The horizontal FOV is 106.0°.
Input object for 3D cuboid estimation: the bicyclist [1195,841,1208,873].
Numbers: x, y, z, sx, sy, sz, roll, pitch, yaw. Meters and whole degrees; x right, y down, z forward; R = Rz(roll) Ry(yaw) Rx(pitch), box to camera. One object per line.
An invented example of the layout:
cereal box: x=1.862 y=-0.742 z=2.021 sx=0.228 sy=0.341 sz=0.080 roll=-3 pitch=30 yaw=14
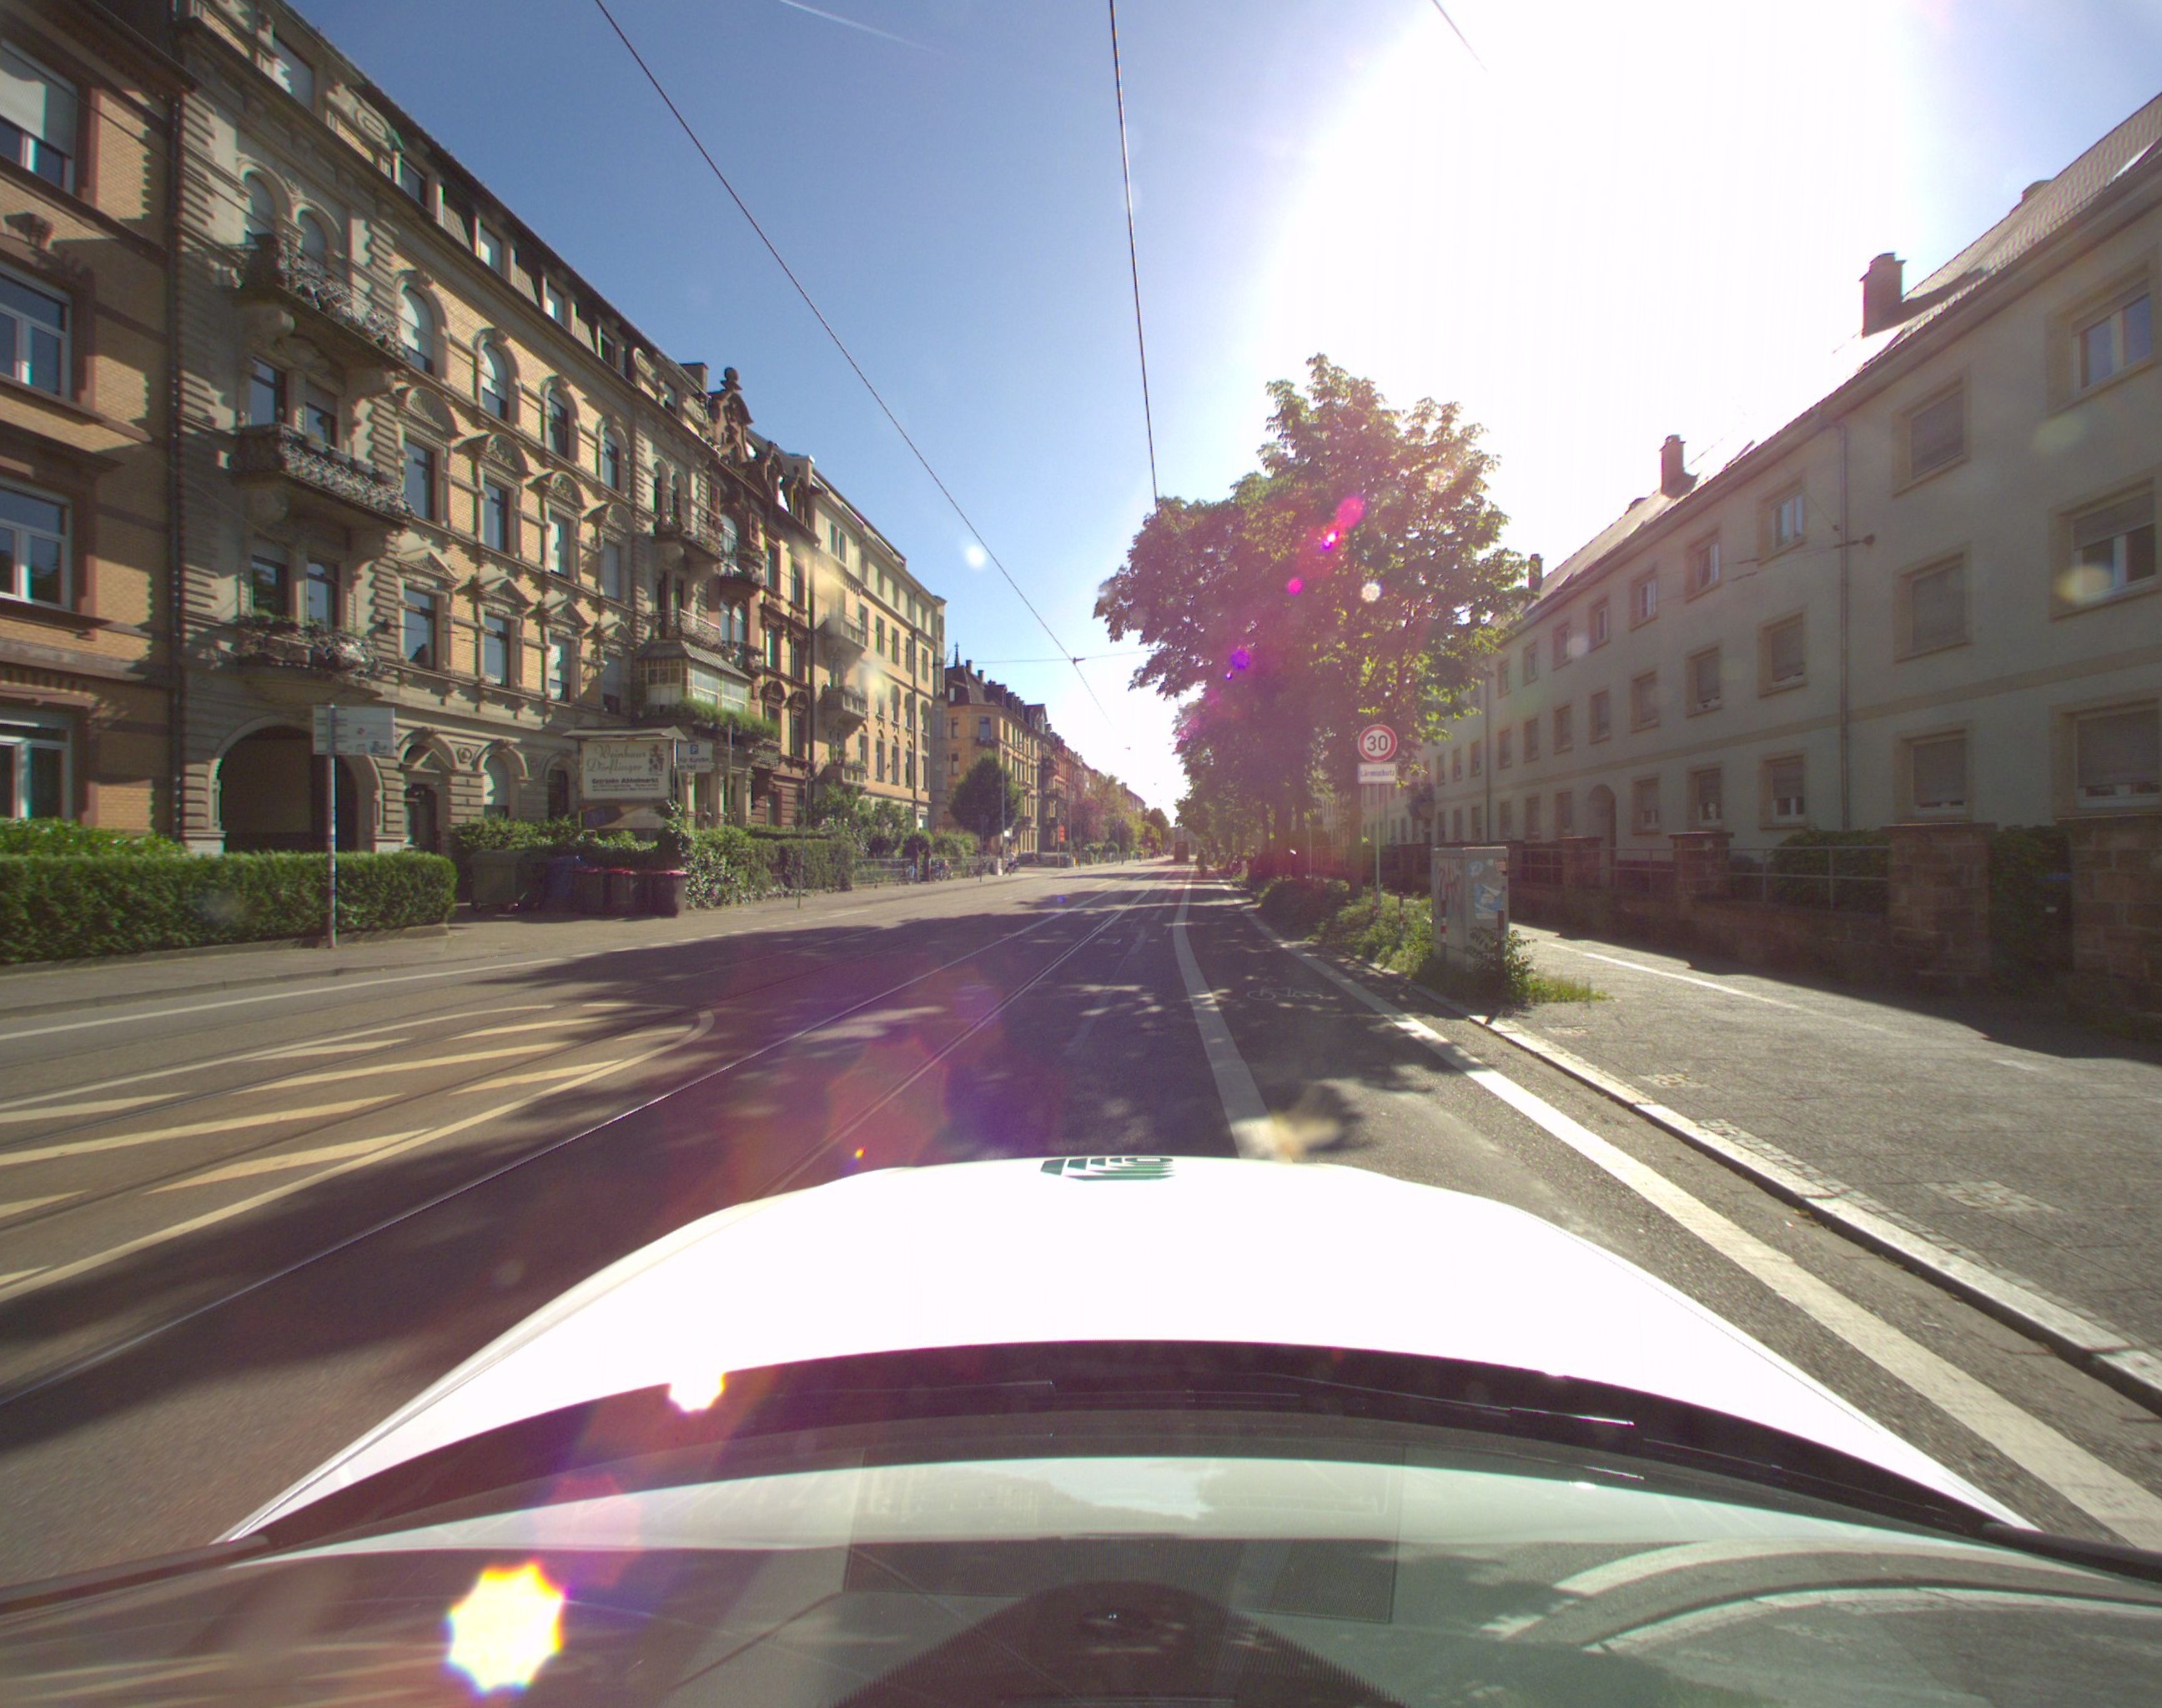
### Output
bicyclist: x=6.966 y=0.169 z=47.128 sx=0.723 sy=1.848 sz=0.838 roll=2 pitch=0 yaw=7

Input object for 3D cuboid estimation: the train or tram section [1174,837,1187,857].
train or tram section: x=17.905 y=-1.249 z=146.512 sx=2.141 sy=3.431 sz=6.626 roll=2 pitch=0 yaw=8

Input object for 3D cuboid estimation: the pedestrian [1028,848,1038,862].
pedestrian: x=-4.897 y=0.096 z=82.870 sx=0.895 sy=1.352 sz=0.579 roll=-2 pitch=0 yaw=9

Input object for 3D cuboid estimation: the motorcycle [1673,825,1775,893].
motorcycle: x=15.098 y=0.111 z=19.216 sx=0.802 sy=1.487 sz=2.263 roll=2 pitch=0 yaw=7

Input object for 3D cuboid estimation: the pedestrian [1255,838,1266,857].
pedestrian: x=16.762 y=-0.609 z=76.152 sx=0.755 sy=1.724 sz=0.583 roll=2 pitch=0 yaw=37

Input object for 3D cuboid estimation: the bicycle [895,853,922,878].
bicycle: x=-7.786 y=0.524 z=36.869 sx=0.560 sy=1.033 sz=1.772 roll=2 pitch=2 yaw=9

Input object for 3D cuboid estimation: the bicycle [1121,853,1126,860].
bicycle: x=5.506 y=0.349 z=106.317 sx=0.457 sy=0.926 sz=2.208 roll=-1 pitch=0 yaw=8

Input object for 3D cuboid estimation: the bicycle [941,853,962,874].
bicycle: x=-6.787 y=0.485 z=42.631 sx=0.560 sy=1.033 sz=1.771 roll=2 pitch=1 yaw=7

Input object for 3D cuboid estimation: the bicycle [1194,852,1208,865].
bicycle: x=10.373 y=0.383 z=70.380 sx=0.685 sy=1.112 sz=1.928 roll=2 pitch=0 yaw=23

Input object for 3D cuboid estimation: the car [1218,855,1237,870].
car: x=14.885 y=0.809 z=82.799 sx=1.777 sy=1.464 sz=4.053 roll=0 pitch=0 yaw=8

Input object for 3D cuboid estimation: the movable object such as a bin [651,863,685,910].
movable object such as a bin: x=-9.969 y=0.783 z=19.649 sx=0.476 sy=1.086 sz=0.542 roll=2 pitch=0 yaw=9

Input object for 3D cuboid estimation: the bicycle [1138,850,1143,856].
bicycle: x=10.068 y=-0.152 z=137.870 sx=0.688 sy=1.112 sz=1.722 roll=-1 pitch=0 yaw=8

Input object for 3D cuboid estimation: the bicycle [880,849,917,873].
bicycle: x=-8.529 y=0.332 z=38.133 sx=1.566 sy=1.033 sz=0.480 roll=4 pitch=1 yaw=7

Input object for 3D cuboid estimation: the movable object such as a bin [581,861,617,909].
movable object such as a bin: x=-11.337 y=0.714 z=19.162 sx=0.476 sy=1.086 sz=0.542 roll=2 pitch=0 yaw=9

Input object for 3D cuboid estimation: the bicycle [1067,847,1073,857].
bicycle: x=-1.125 y=-0.177 z=82.811 sx=0.333 sy=1.001 sz=1.874 roll=2 pitch=0 yaw=8

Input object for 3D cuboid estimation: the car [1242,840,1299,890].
car: x=7.443 y=0.389 z=32.353 sx=1.734 sy=1.766 sz=4.487 roll=2 pitch=1 yaw=7

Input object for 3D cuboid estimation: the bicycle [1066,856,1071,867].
bicycle: x=-1.290 y=0.739 z=81.875 sx=0.368 sy=1.126 sz=0.810 roll=2 pitch=0 yaw=8

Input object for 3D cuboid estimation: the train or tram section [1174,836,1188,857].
train or tram section: x=17.184 y=-1.224 z=139.918 sx=2.141 sy=3.431 sz=6.626 roll=2 pitch=0 yaw=8

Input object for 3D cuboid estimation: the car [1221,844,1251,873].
car: x=9.930 y=0.261 z=52.445 sx=1.656 sy=1.761 sz=4.240 roll=0 pitch=0 yaw=7

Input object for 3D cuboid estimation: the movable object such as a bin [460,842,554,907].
movable object such as a bin: x=-13.542 y=0.464 z=19.252 sx=1.311 sy=1.447 sz=1.174 roll=2 pitch=0 yaw=9

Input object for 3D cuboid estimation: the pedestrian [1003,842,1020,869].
pedestrian: x=-4.436 y=0.098 z=52.135 sx=0.824 sy=1.723 sz=1.085 roll=2 pitch=-1 yaw=8

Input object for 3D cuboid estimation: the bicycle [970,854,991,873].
bicycle: x=-5.911 y=0.556 z=47.763 sx=0.566 sy=1.033 sz=1.752 roll=1 pitch=2 yaw=-28

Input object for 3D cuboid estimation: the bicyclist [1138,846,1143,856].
bicyclist: x=10.064 y=-0.520 z=137.787 sx=0.656 sy=1.801 sz=0.617 roll=-2 pitch=-1 yaw=8

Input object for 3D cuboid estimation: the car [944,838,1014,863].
car: x=-7.080 y=-0.245 z=56.869 sx=4.418 sy=1.643 sz=1.972 roll=2 pitch=0 yaw=10

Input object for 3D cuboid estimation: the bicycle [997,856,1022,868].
bicycle: x=-5.406 y=0.606 z=61.868 sx=1.793 sy=0.914 sz=0.615 roll=1 pitch=-2 yaw=-28

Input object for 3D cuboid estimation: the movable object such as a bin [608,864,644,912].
movable object such as a bin: x=-10.673 y=0.785 z=19.130 sx=0.476 sy=1.086 sz=0.542 roll=2 pitch=0 yaw=9

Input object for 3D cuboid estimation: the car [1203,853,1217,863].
car: x=18.537 y=0.536 z=117.156 sx=1.620 sy=1.436 sz=4.671 roll=-1 pitch=0 yaw=5

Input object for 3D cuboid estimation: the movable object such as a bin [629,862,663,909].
movable object such as a bin: x=-10.537 y=0.759 z=19.725 sx=0.476 sy=1.086 sz=0.542 roll=2 pitch=0 yaw=9

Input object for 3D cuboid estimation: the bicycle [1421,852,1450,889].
bicycle: x=12.317 y=0.554 z=28.321 sx=0.445 sy=1.238 sz=1.678 roll=-1 pitch=0 yaw=7

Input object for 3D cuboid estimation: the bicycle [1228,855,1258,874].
bicycle: x=9.701 y=0.611 z=48.842 sx=1.751 sy=1.078 sz=0.434 roll=2 pitch=0 yaw=9

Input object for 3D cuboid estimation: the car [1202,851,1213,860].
car: x=21.241 y=0.181 z=136.631 sx=1.739 sy=1.420 sz=4.009 roll=-1 pitch=0 yaw=7

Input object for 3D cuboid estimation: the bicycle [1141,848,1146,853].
bicycle: x=13.446 y=-0.819 z=175.568 sx=0.632 sy=1.069 sz=1.826 roll=2 pitch=0 yaw=-9

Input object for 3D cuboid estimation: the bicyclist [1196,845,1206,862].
bicyclist: x=10.396 y=-0.066 z=70.465 sx=0.629 sy=1.468 sz=0.619 roll=2 pitch=0 yaw=24

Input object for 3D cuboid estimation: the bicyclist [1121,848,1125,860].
bicyclist: x=5.477 y=-0.014 z=106.124 sx=0.461 sy=1.618 sz=0.746 roll=-2 pitch=0 yaw=8

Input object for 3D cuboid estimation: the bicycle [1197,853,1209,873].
bicycle: x=7.077 y=0.496 z=47.214 sx=0.688 sy=1.112 sz=1.722 roll=2 pitch=0 yaw=8

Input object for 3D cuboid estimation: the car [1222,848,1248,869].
car: x=11.726 y=0.327 z=62.197 sx=1.711 sy=1.473 sz=4.254 roll=-1 pitch=0 yaw=7

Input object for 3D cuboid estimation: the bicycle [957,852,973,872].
bicycle: x=-6.612 y=0.434 z=46.251 sx=0.564 sy=1.033 sz=1.758 roll=4 pitch=1 yaw=-16

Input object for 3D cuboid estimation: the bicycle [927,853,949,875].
bicycle: x=-7.136 y=0.487 z=40.675 sx=0.560 sy=1.033 sz=1.771 roll=2 pitch=1 yaw=7
